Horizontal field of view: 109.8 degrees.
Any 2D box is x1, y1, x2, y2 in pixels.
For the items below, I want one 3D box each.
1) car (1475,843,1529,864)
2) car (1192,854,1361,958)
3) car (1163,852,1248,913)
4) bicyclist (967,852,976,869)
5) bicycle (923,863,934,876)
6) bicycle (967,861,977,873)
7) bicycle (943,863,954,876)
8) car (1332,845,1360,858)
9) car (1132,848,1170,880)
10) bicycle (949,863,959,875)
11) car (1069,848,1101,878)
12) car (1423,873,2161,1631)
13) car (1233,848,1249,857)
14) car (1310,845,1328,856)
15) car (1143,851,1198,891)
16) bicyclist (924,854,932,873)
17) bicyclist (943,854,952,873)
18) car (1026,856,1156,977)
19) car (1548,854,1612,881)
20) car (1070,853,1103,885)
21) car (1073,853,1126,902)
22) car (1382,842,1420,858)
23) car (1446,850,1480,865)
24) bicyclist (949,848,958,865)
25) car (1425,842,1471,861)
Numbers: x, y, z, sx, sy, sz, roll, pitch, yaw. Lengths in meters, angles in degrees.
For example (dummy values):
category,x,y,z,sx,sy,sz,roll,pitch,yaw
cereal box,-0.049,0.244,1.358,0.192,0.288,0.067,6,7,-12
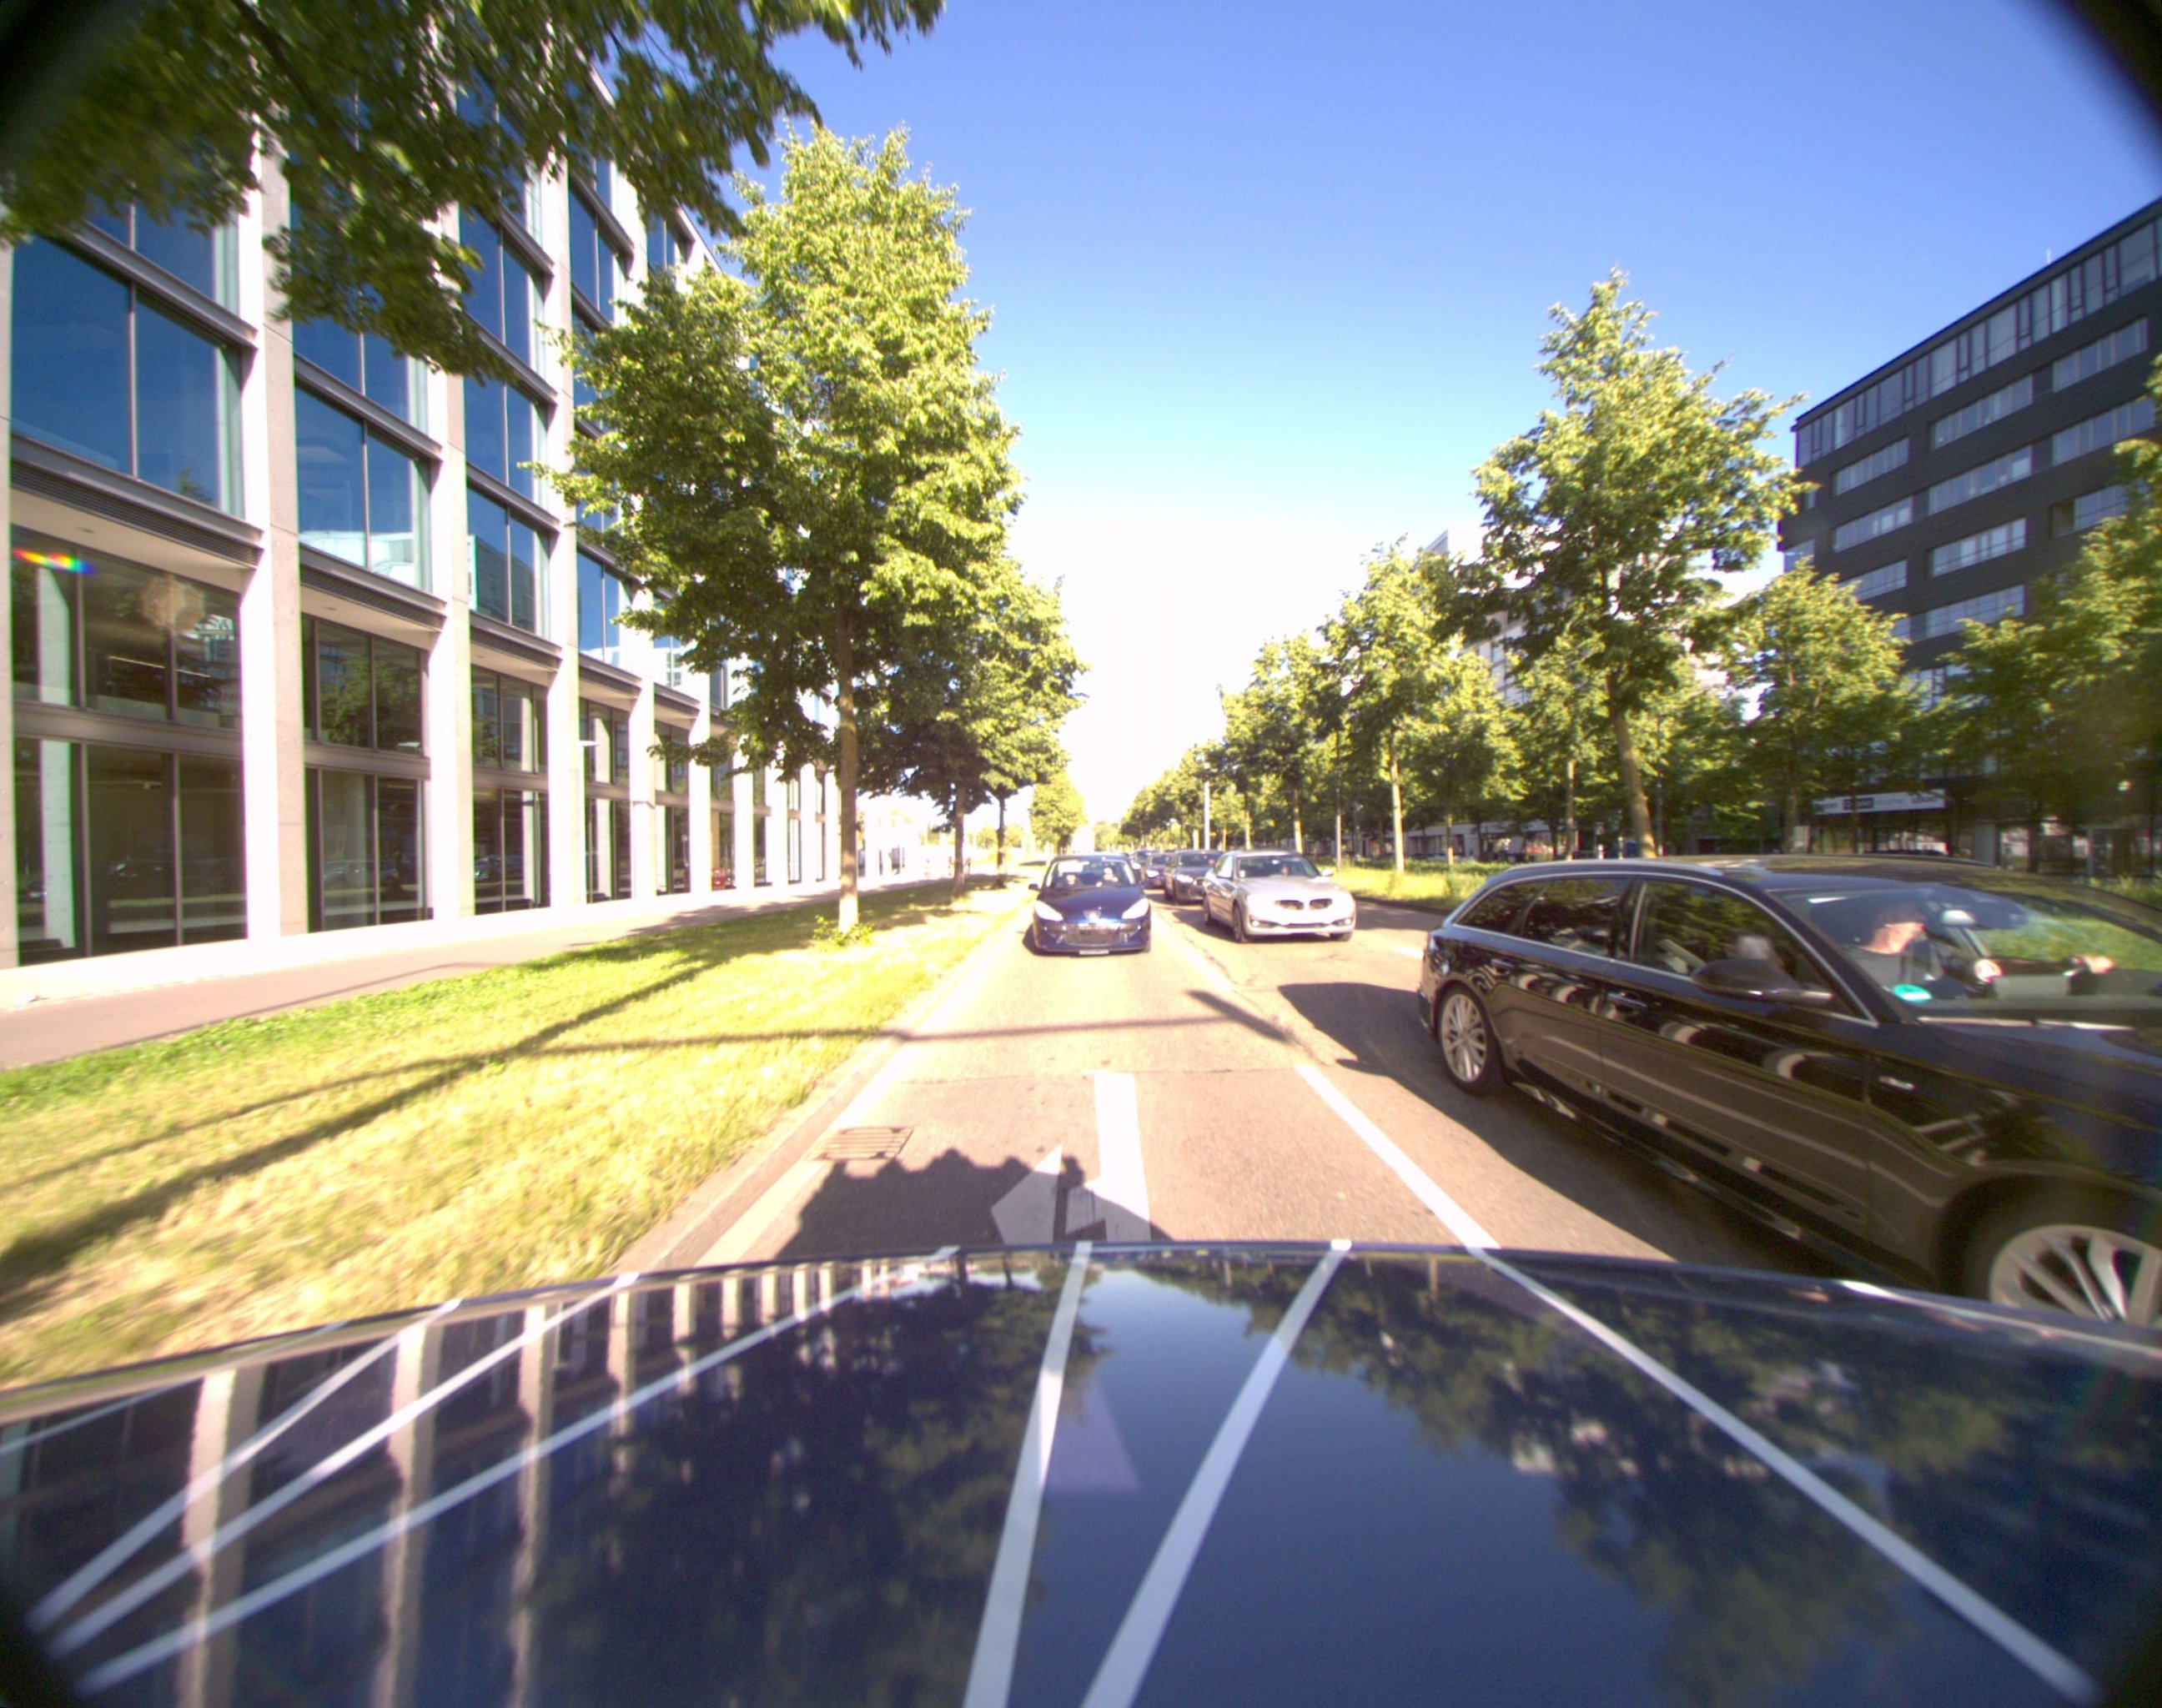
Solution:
category,x,y,z,sx,sy,sz,roll,pitch,yaw
car,34.825,-0.050,62.992,1.858,1.674,4.792,-1,1,1
car,3.256,0.781,13.680,1.812,1.480,4.741,-1,1,0
car,3.412,0.730,21.553,1.812,1.514,4.028,-1,1,1
bicyclist,-8.224,0.493,57.133,0.534,1.282,0.521,-1,2,1
bicycle,-10.413,1.064,51.875,0.415,0.813,1.320,-1,1,1
bicycle,-8.207,0.965,57.125,0.464,0.813,1.344,-1,1,1
bicycle,-9.106,1.070,52.084,0.464,0.813,1.344,-1,1,1
car,35.101,-0.310,100.951,2.012,1.689,4.791,-1,1,-1
car,3.664,0.478,40.364,1.812,1.581,4.165,0,1,2
bicycle,-9.531,1.110,57.174,0.464,0.813,1.344,-1,1,1
car,0.232,0.455,42.366,1.705,1.591,3.785,-1,1,1
car,3.177,0.881,2.836,1.812,1.448,4.507,-1,1,1
car,27.686,-0.221,131.756,1.858,1.529,4.735,-1,1,1
car,35.163,-0.563,112.246,1.601,1.659,3.743,0,1,1
car,3.504,0.611,30.462,1.812,1.446,4.254,0,1,2
bicyclist,-10.436,0.646,51.804,0.448,1.282,0.418,-1,2,1
bicyclist,-9.149,0.648,52.052,0.534,1.210,0.507,-1,2,1
car,0.157,0.813,11.770,1.686,1.514,3.785,-1,1,1
car,34.474,0.871,52.665,1.858,1.739,4.000,-1,1,1
car,0.260,0.640,34.510,1.407,1.326,3.785,-1,1,1
car,0.605,0.714,25.534,1.612,1.463,4.395,-1,1,1
car,35.056,-0.413,83.451,2.012,1.689,4.790,-1,1,-3
car,40.499,0.337,80.668,1.756,1.496,4.000,0,1,3
bicyclist,-9.593,0.177,57.255,0.534,1.282,0.457,-1,2,1
car,35.248,-0.257,73.114,2.012,1.689,4.790,-1,1,-3
